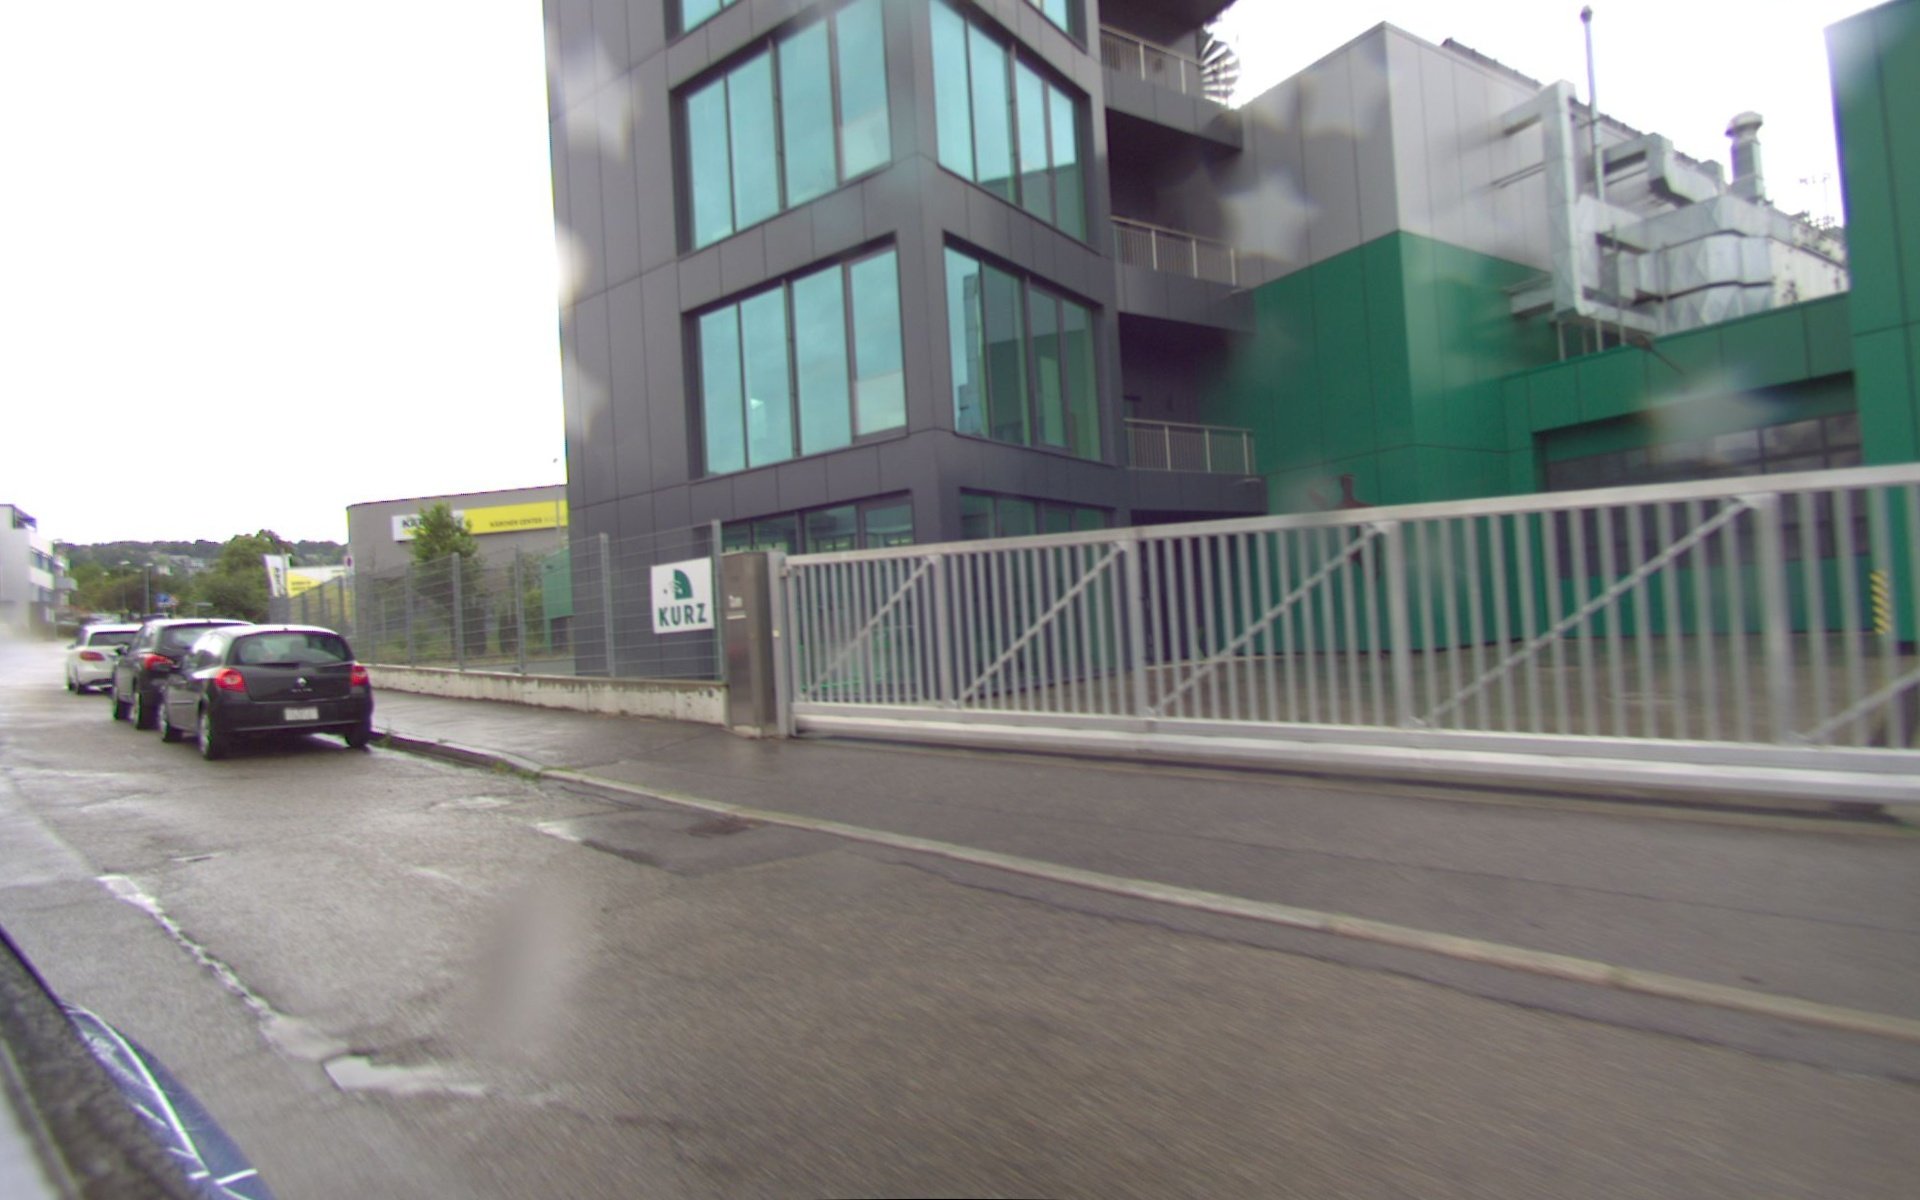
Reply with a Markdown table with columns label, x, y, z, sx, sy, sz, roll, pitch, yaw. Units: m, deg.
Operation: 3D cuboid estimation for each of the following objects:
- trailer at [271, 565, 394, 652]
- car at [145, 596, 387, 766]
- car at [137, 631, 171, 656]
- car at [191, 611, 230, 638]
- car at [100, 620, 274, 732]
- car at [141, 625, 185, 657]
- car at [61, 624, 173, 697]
| label | x | y | z | sx | sy | sz | roll | pitch | yaw |
| --- | --- | --- | --- | --- | --- | --- | --- | --- | --- |
| trailer | -30.931 | 0.415 | 49.984 | 4.639 | 4.120 | 2.386 | -1 | -1 | 4 |
| car | -8.848 | 0.906 | 12.778 | 3.959 | 1.811 | 1.720 | -2 | -1 | 43 |
| car | -65.843 | 3.567 | 82.683 | 2.036 | 2.029 | 4.519 | 2 | -3 | -39 |
| car | -59.941 | 1.947 | 80.994 | 1.966 | 2.029 | 4.012 | -1 | -1 | -29 |
| car | -12.442 | 1.155 | 16.199 | 4.085 | 1.570 | 1.614 | -2 | -4 | 44 |
| car | -49.393 | 2.533 | 62.694 | 1.968 | 1.928 | 4.006 | 2 | -3 | -40 |
| car | -20.317 | 1.387 | 24.336 | 1.715 | 1.547 | 4.252 | -1 | -1 | -45 |
